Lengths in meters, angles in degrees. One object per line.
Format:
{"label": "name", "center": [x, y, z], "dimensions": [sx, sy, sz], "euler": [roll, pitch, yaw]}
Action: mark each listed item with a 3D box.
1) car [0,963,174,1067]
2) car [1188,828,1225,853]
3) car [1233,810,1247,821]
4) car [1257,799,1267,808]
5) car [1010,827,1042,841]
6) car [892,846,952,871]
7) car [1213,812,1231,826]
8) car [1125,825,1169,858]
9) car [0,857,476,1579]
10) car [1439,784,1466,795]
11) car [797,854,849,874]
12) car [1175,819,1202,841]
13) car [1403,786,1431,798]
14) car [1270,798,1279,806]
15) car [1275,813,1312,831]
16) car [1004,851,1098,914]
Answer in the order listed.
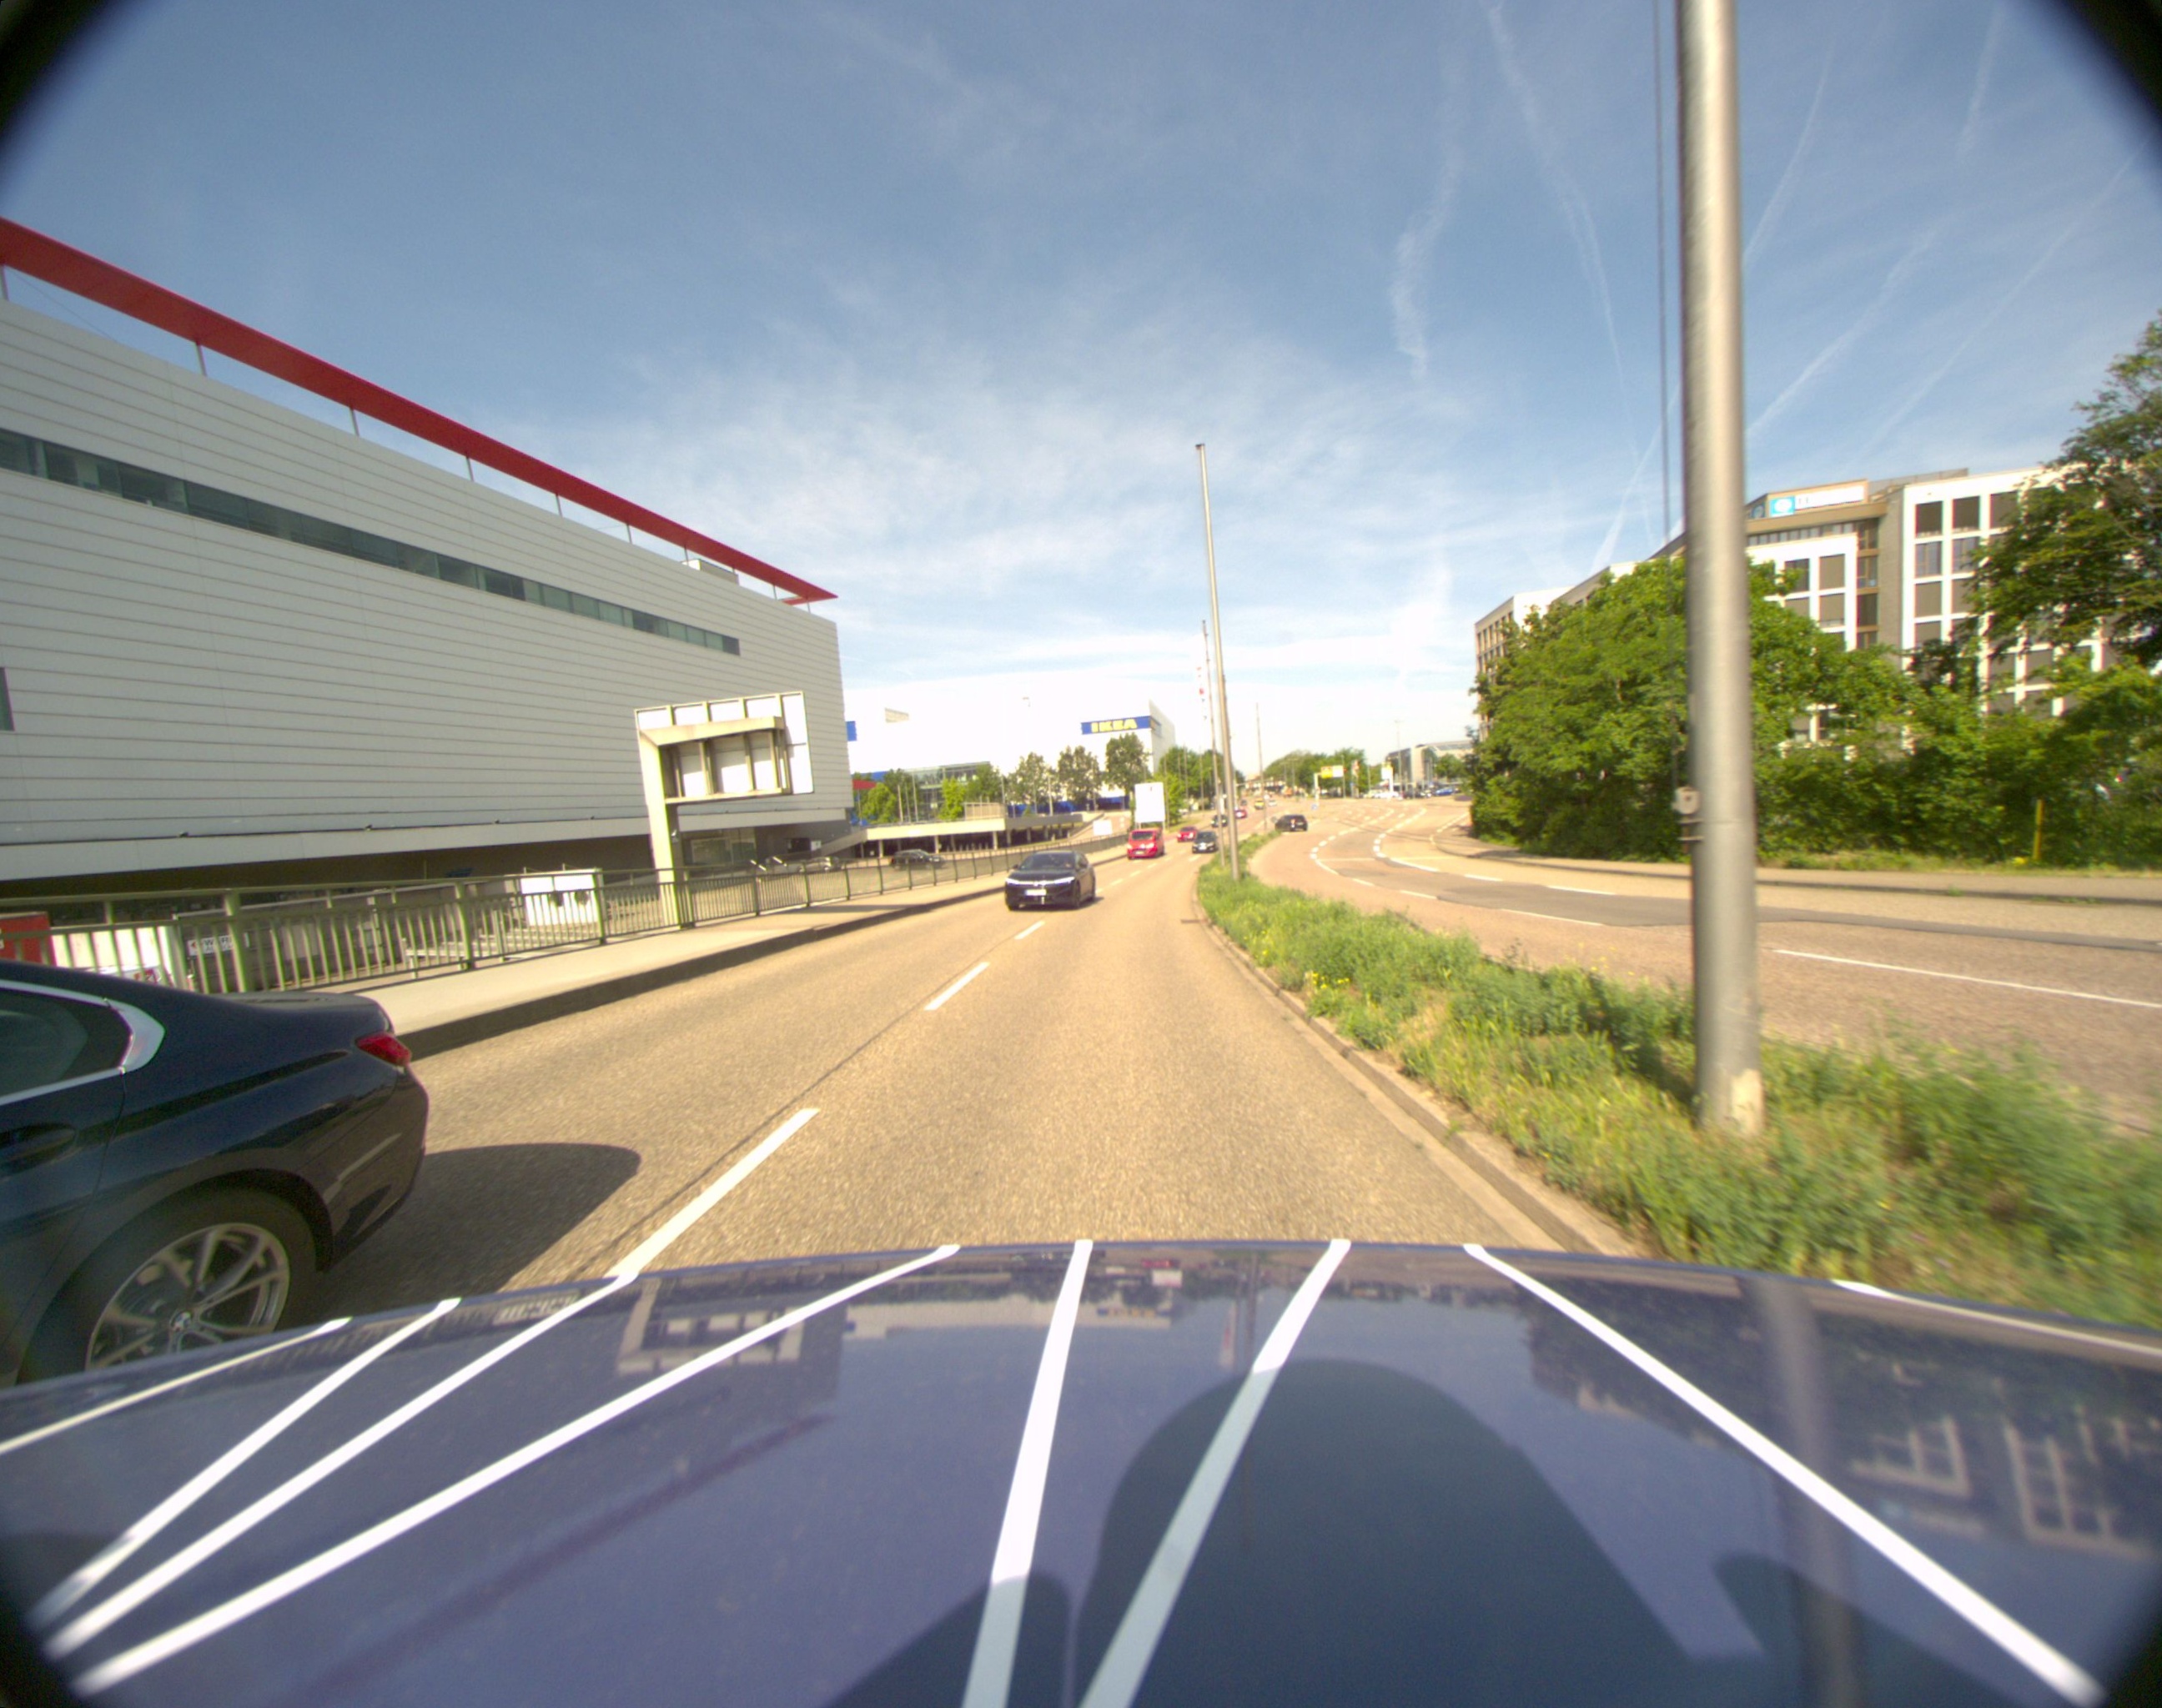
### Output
{"label": "car", "center": [-28.831, 4.514, 19.910], "dimensions": [2.128, 1.995, 6.014], "euler": [-2, 4, 14]}
{"label": "car", "center": [8.959, -0.977, 54.102], "dimensions": [1.847, 1.411, 4.002], "euler": [-2, 4, 20]}
{"label": "car", "center": [24.392, -5.940, 116.681], "dimensions": [1.823, 1.467, 4.001], "euler": [-3, 4, 14]}
{"label": "car", "center": [35.263, -9.889, 148.177], "dimensions": [1.823, 1.467, 4.001], "euler": [-3, 4, 14]}
{"label": "car", "center": [-8.129, -2.967, 112.348], "dimensions": [4.312, 1.824, 2.000], "euler": [-3, 2, 8]}
{"label": "car", "center": [-13.249, 0.356, 63.279], "dimensions": [4.408, 1.723, 1.864], "euler": [-3, 4, 23]}
{"label": "car", "center": [17.901, -4.457, 96.264], "dimensions": [1.823, 1.467, 4.001], "euler": [-3, 4, 14]}
{"label": "car", "center": [4.539, -0.887, 51.768], "dimensions": [1.985, 1.897, 4.147], "euler": [-2, 4, 19]}
{"label": "car", "center": [-3.294, 0.971, 0.624], "dimensions": [1.792, 1.476, 4.516], "euler": [-4, 4, 1]}
{"label": "car", "center": [69.731, -12.091, 142.751], "dimensions": [4.387, 1.838, 1.813], "euler": [-3, 4, 19]}
{"label": "car", "center": [-23.131, 0.865, 68.140], "dimensions": [3.863, 1.368, 1.812], "euler": [-5, 3, 13]}
{"label": "car", "center": [10.073, -2.272, 71.114], "dimensions": [1.775, 1.650, 4.145], "euler": [-3, 4, 17]}
{"label": "car", "center": [61.370, -11.252, 138.719], "dimensions": [4.384, 1.838, 1.814], "euler": [-1, 5, 33]}
{"label": "car", "center": [43.710, -11.754, 171.335], "dimensions": [1.823, 1.467, 4.001], "euler": [-3, 4, 14]}
{"label": "car", "center": [20.207, -3.089, 72.439], "dimensions": [1.862, 1.521, 4.138], "euler": [-4, 4, -8]}
{"label": "car", "center": [-0.703, 0.701, 20.880], "dimensions": [1.860, 1.520, 4.146], "euler": [-1, 1, 8]}
